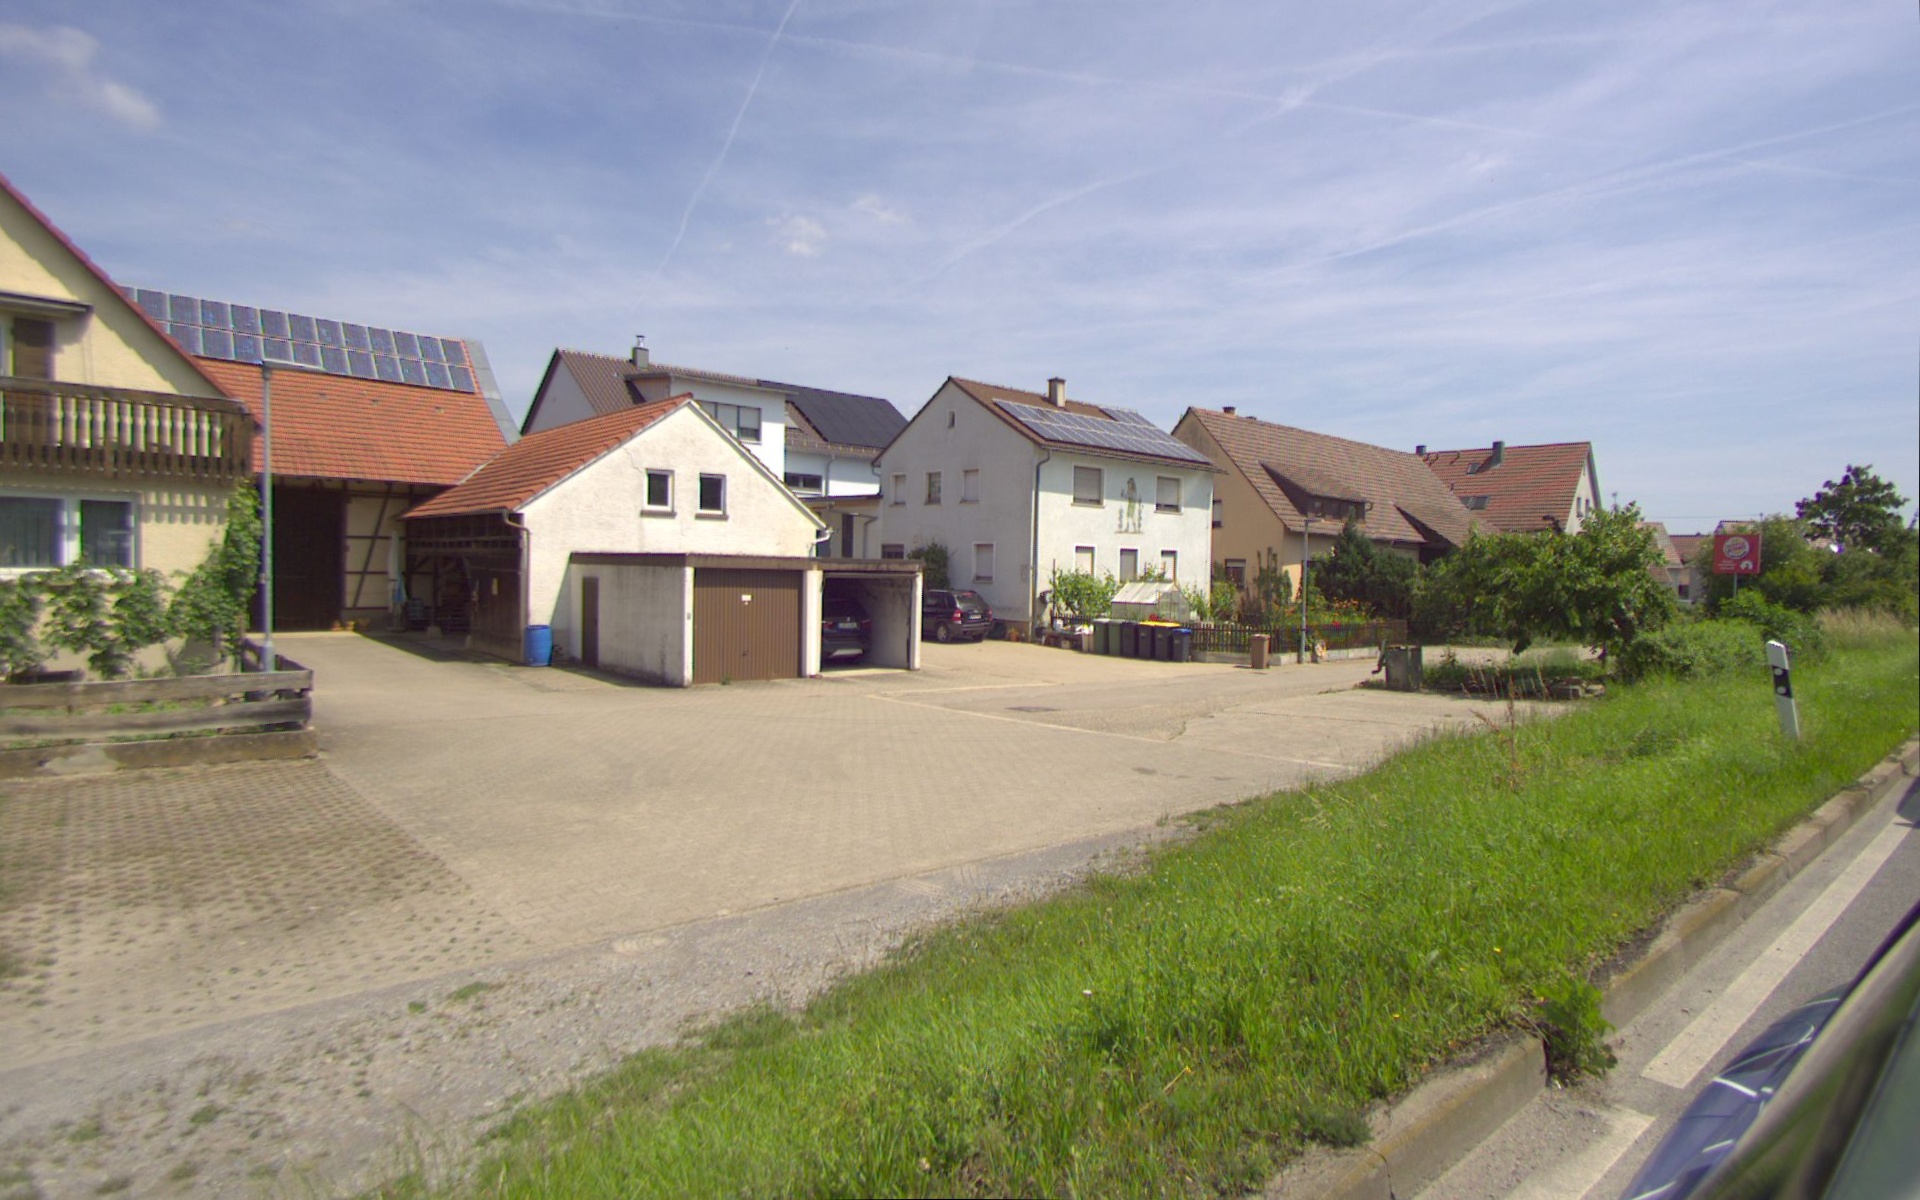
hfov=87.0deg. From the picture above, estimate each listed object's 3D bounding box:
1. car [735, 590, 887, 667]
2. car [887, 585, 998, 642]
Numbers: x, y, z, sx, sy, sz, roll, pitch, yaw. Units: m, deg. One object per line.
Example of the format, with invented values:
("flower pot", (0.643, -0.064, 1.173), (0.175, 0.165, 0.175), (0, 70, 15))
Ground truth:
("car", (-3.672, 0.605, 24.456), (1.802, 1.597, 3.995), (-1, 2, -40))
("car", (-0.657, 0.392, 34.680), (1.811, 1.714, 3.959), (-1, 3, -38))
